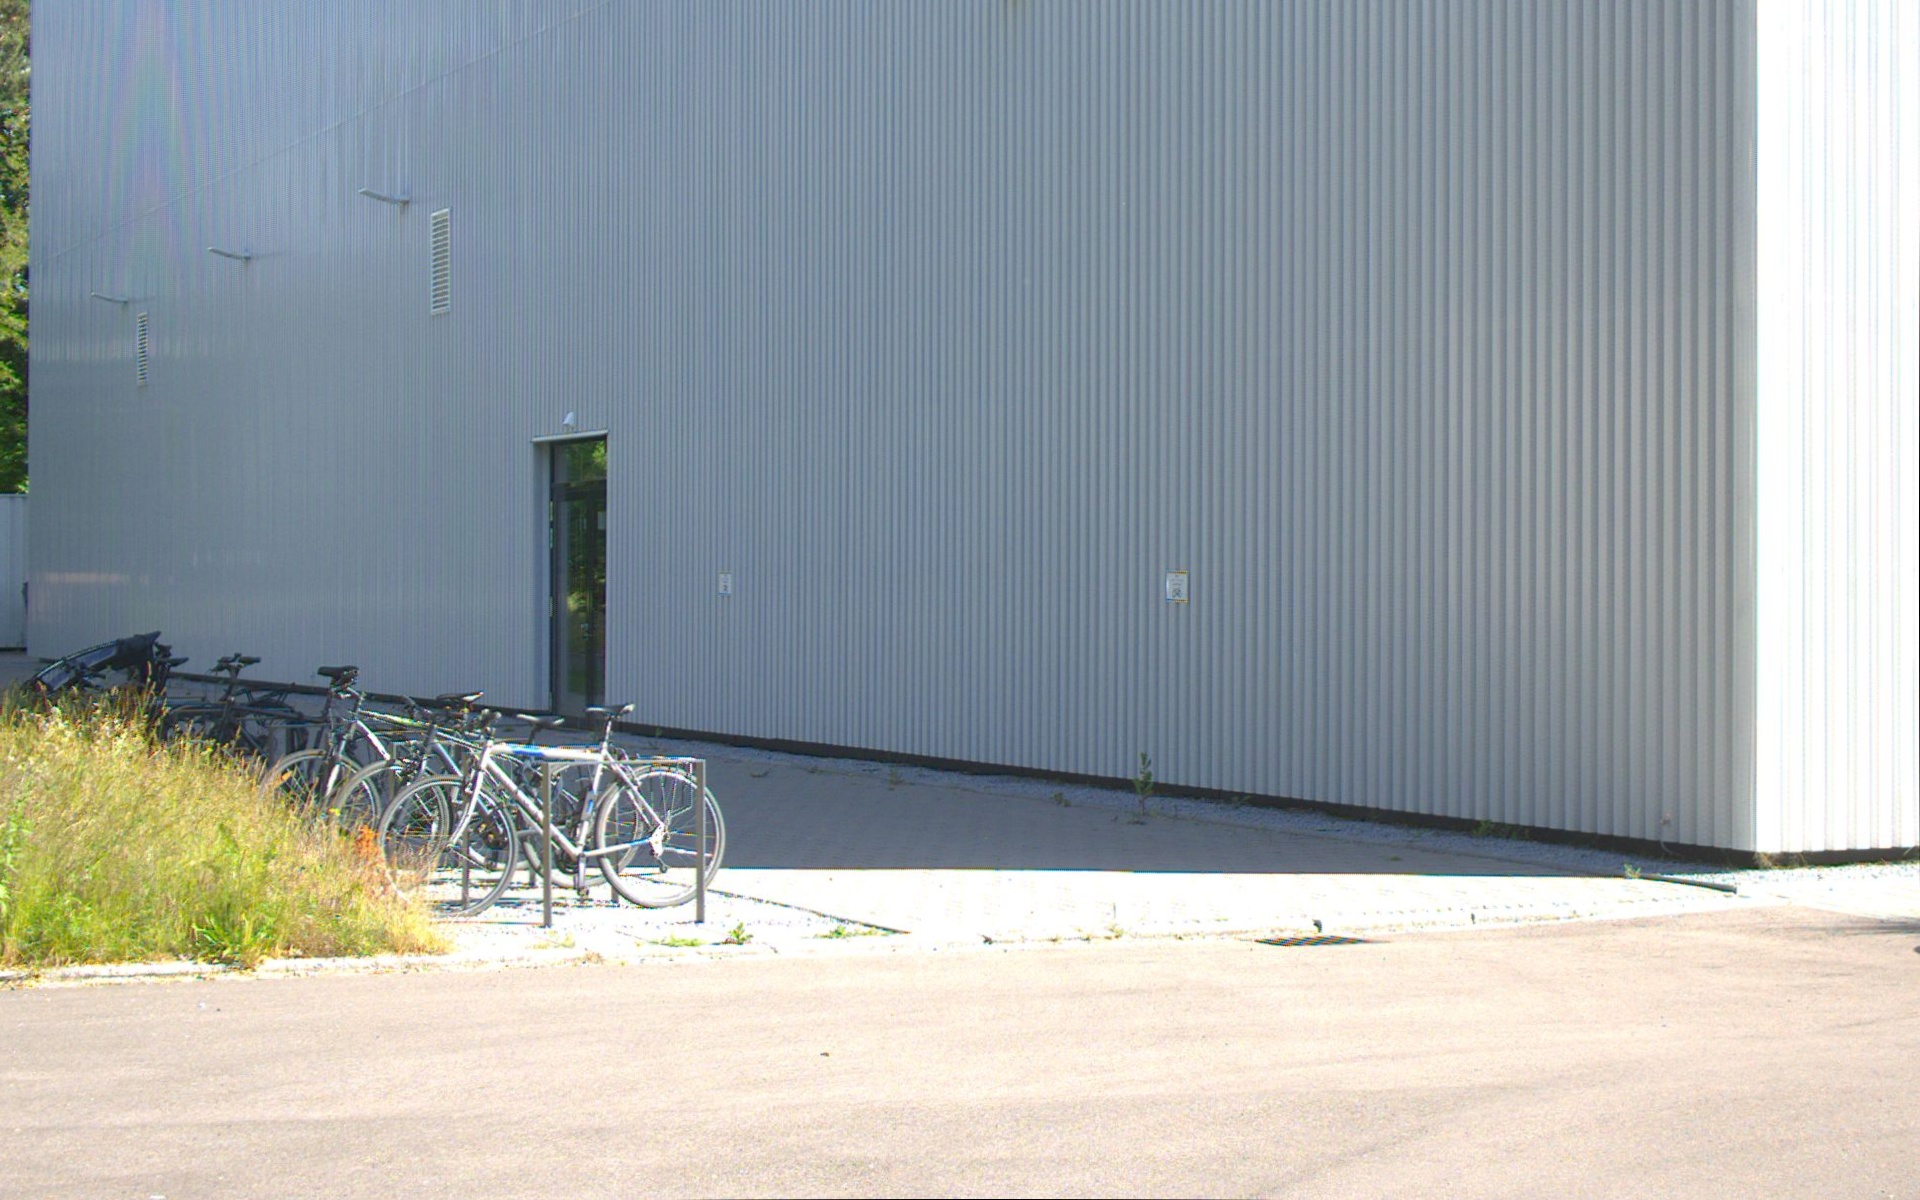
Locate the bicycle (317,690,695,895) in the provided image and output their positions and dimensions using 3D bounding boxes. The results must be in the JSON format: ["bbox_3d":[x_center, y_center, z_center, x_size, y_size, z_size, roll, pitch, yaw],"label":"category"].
[{"bbox_3d":[-2.315,0.969,17.620,1.883,0.974,0.433,0,0,-26],"label":"bicycle"}]

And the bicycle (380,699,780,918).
[{"bbox_3d":[-1.819,0.985,16.590,1.883,0.974,0.433,0,0,-26],"label":"bicycle"}]

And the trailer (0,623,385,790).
[{"bbox_3d":[-5.902,0.790,26.356,2.710,1.195,1.246,0,0,-26],"label":"trailer"}]

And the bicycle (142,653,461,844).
[{"bbox_3d":[-4.057,0.899,21.237,1.883,1.122,0.433,0,0,-26],"label":"bicycle"}]

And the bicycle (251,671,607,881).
[{"bbox_3d":[-2.891,0.944,18.790,1.883,1.078,0.433,0,0,-26],"label":"bicycle"}]

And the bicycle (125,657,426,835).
[{"bbox_3d":[-4.473,0.939,22.501,1.883,1.100,0.433,0,0,-26],"label":"bicycle"}]
